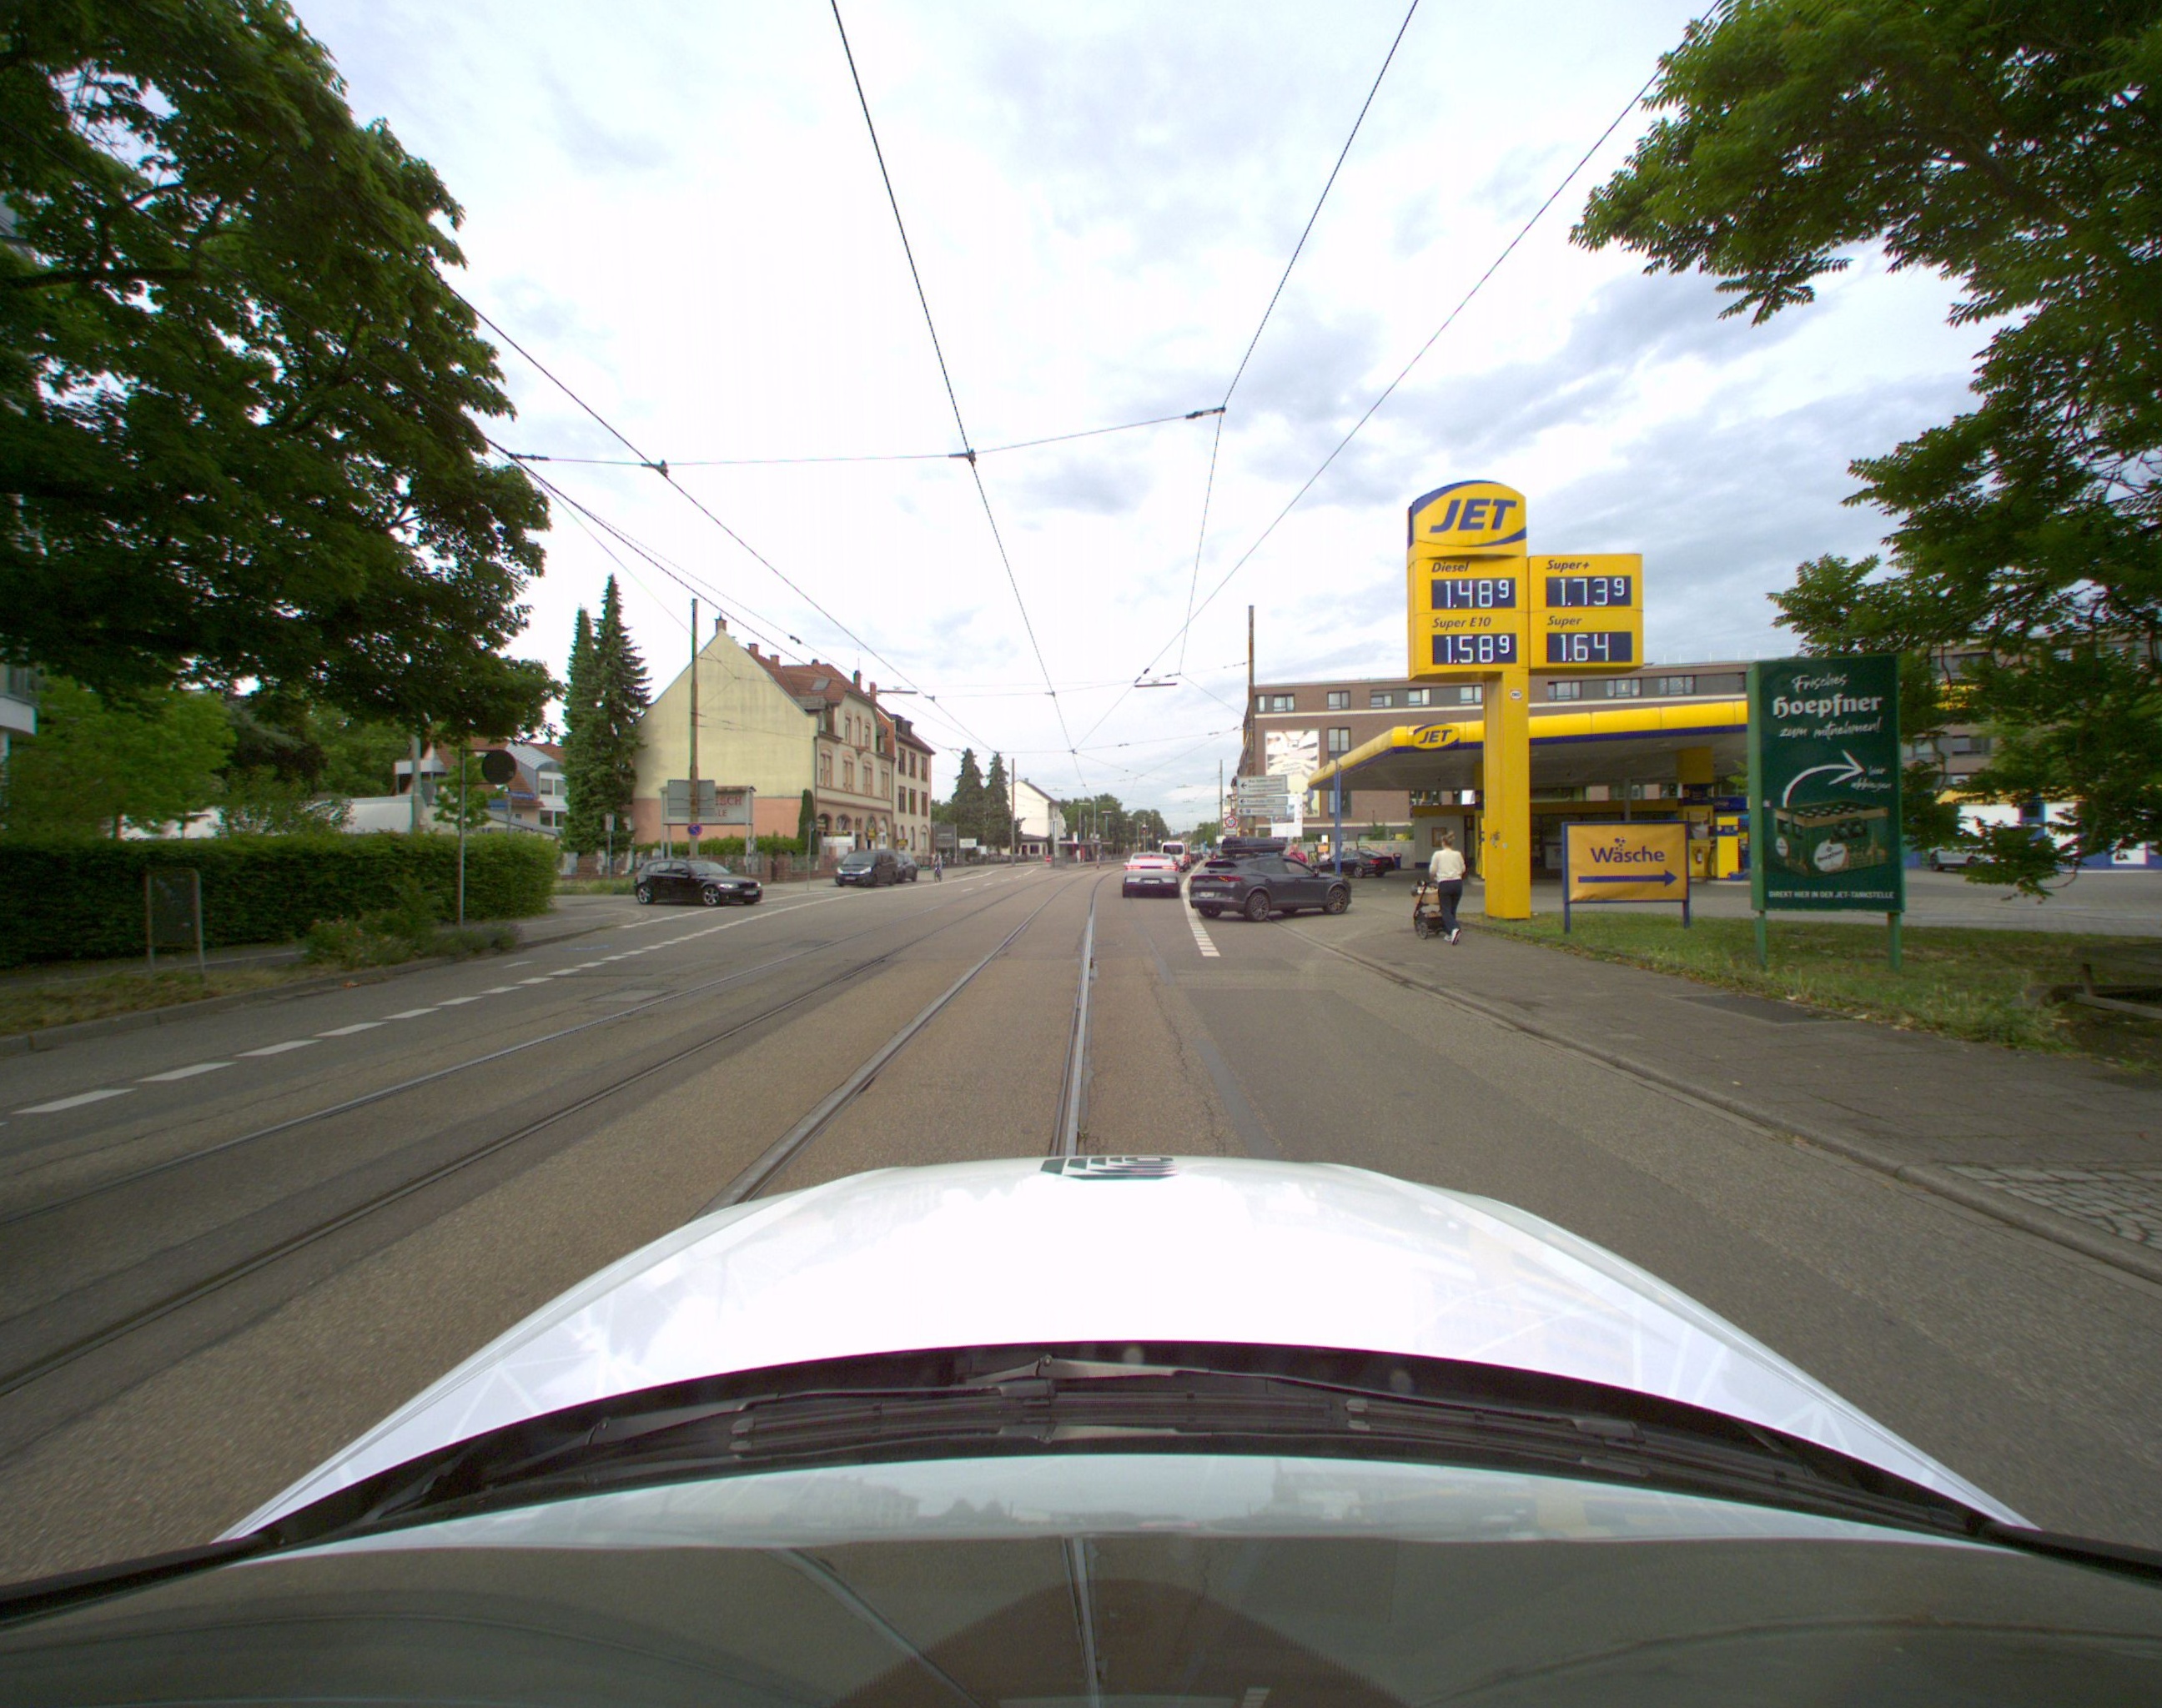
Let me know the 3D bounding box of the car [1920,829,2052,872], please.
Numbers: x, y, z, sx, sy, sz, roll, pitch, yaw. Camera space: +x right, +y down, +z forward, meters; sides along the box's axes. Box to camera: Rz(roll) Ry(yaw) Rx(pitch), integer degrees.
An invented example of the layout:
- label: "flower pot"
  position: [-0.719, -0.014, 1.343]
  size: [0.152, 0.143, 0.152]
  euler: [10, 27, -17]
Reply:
- label: "car"
  position: [36.982, -0.111, 33.450]
  size: [1.818, 1.638, 4.502]
  euler: [1, -1, 21]

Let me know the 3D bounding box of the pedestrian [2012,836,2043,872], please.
- label: "pedestrian"
  position: [36.136, 0.006, 31.097]
  size: [0.573, 1.347, 0.615]
  euler: [1, -1, 26]

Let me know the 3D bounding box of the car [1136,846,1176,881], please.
- label: "car"
  position: [3.952, 0.488, 43.333]
  size: [1.960, 1.756, 3.841]
  euler: [1, -1, 3]

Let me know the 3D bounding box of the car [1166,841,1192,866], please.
- label: "car"
  position: [8.869, -0.002, 73.820]
  size: [2.129, 2.145, 4.749]
  euler: [1, -1, 5]

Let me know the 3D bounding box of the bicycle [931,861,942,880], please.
- label: "bicycle"
  position: [-8.648, 0.967, 48.826]
  size: [0.586, 1.074, 1.951]
  euler: [-2, 0, -9]

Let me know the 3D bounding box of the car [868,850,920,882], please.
- label: "car"
  position: [-10.832, 0.682, 47.494]
  size: [1.837, 1.718, 4.196]
  euler: [1, 0, 3]

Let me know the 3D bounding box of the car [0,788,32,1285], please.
- label: "car"
  position: [-4.739, 0.635, 0.768]
  size: [1.821, 1.737, 4.336]
  euler: [-1, 0, 1]

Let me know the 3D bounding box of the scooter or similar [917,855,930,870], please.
- label: "scooter or similar"
  position: [-13.112, 0.705, 67.802]
  size: [1.055, 1.188, 0.315]
  euler: [1, -1, -31]

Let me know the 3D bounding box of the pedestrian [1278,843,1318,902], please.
- label: "pedestrian"
  position: [6.635, 0.548, 24.987]
  size: [0.967, 1.738, 0.862]
  euler: [-3, -1, 4]

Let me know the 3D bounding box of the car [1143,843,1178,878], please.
- label: "car"
  position: [4.790, 0.421, 49.560]
  size: [1.985, 2.014, 4.004]
  euler: [1, -1, 4]

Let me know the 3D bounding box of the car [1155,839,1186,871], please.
- label: "car"
  position: [7.098, 0.125, 64.727]
  size: [2.207, 2.423, 4.956]
  euler: [1, -1, 4]

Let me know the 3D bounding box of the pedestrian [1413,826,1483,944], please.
- label: "pedestrian"
  position: [5.923, 0.482, 13.207]
  size: [0.762, 1.797, 1.167]
  euler: [-3, -1, 15]

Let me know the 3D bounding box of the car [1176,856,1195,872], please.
- label: "car"
  position: [13.586, 1.329, 105.720]
  size: [1.986, 2.014, 4.001]
  euler: [1, -1, 1]

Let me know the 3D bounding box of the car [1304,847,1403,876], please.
- label: "car"
  position: [14.328, 0.392, 43.094]
  size: [1.959, 1.427, 4.838]
  euler: [-1, 0, -31]

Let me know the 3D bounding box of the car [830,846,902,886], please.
- label: "car"
  position: [-10.850, 0.602, 41.559]
  size: [1.983, 1.887, 5.004]
  euler: [1, 0, 4]

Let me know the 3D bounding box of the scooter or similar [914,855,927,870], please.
- label: "scooter or similar"
  position: [-13.467, 0.705, 68.280]
  size: [1.055, 1.188, 0.315]
  euler: [1, -1, -31]

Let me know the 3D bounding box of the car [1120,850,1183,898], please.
- label: "car"
  position: [2.434, 0.641, 28.949]
  size: [1.974, 1.550, 4.185]
  euler: [1, 0, 1]

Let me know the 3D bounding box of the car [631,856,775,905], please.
- label: "car"
  position: [-11.505, 0.772, 24.807]
  size: [3.885, 1.388, 1.812]
  euler: [0, 0, 22]

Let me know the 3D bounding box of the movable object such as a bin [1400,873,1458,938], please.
- label: "movable object such as a bin"
  position: [6.067, 0.878, 14.248]
  size: [0.762, 1.039, 1.028]
  euler: [-3, -1, 15]

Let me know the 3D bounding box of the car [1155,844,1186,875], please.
- label: "car"
  position: [6.166, 0.375, 56.489]
  size: [1.984, 2.014, 4.005]
  euler: [1, -1, 5]

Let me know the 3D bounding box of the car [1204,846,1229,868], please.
- label: "car"
  position: [12.062, 0.294, 72.539]
  size: [1.866, 1.823, 4.101]
  euler: [1, -1, 4]

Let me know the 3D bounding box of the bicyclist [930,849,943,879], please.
- label: "bicyclist"
  position: [-8.676, 0.615, 48.946]
  size: [0.735, 1.749, 0.976]
  euler: [-2, 0, -9]

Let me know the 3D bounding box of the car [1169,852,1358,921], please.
- label: "car"
  position: [4.462, 0.719, 19.742]
  size: [4.341, 1.497, 1.976]
  euler: [0, -1, -32]
